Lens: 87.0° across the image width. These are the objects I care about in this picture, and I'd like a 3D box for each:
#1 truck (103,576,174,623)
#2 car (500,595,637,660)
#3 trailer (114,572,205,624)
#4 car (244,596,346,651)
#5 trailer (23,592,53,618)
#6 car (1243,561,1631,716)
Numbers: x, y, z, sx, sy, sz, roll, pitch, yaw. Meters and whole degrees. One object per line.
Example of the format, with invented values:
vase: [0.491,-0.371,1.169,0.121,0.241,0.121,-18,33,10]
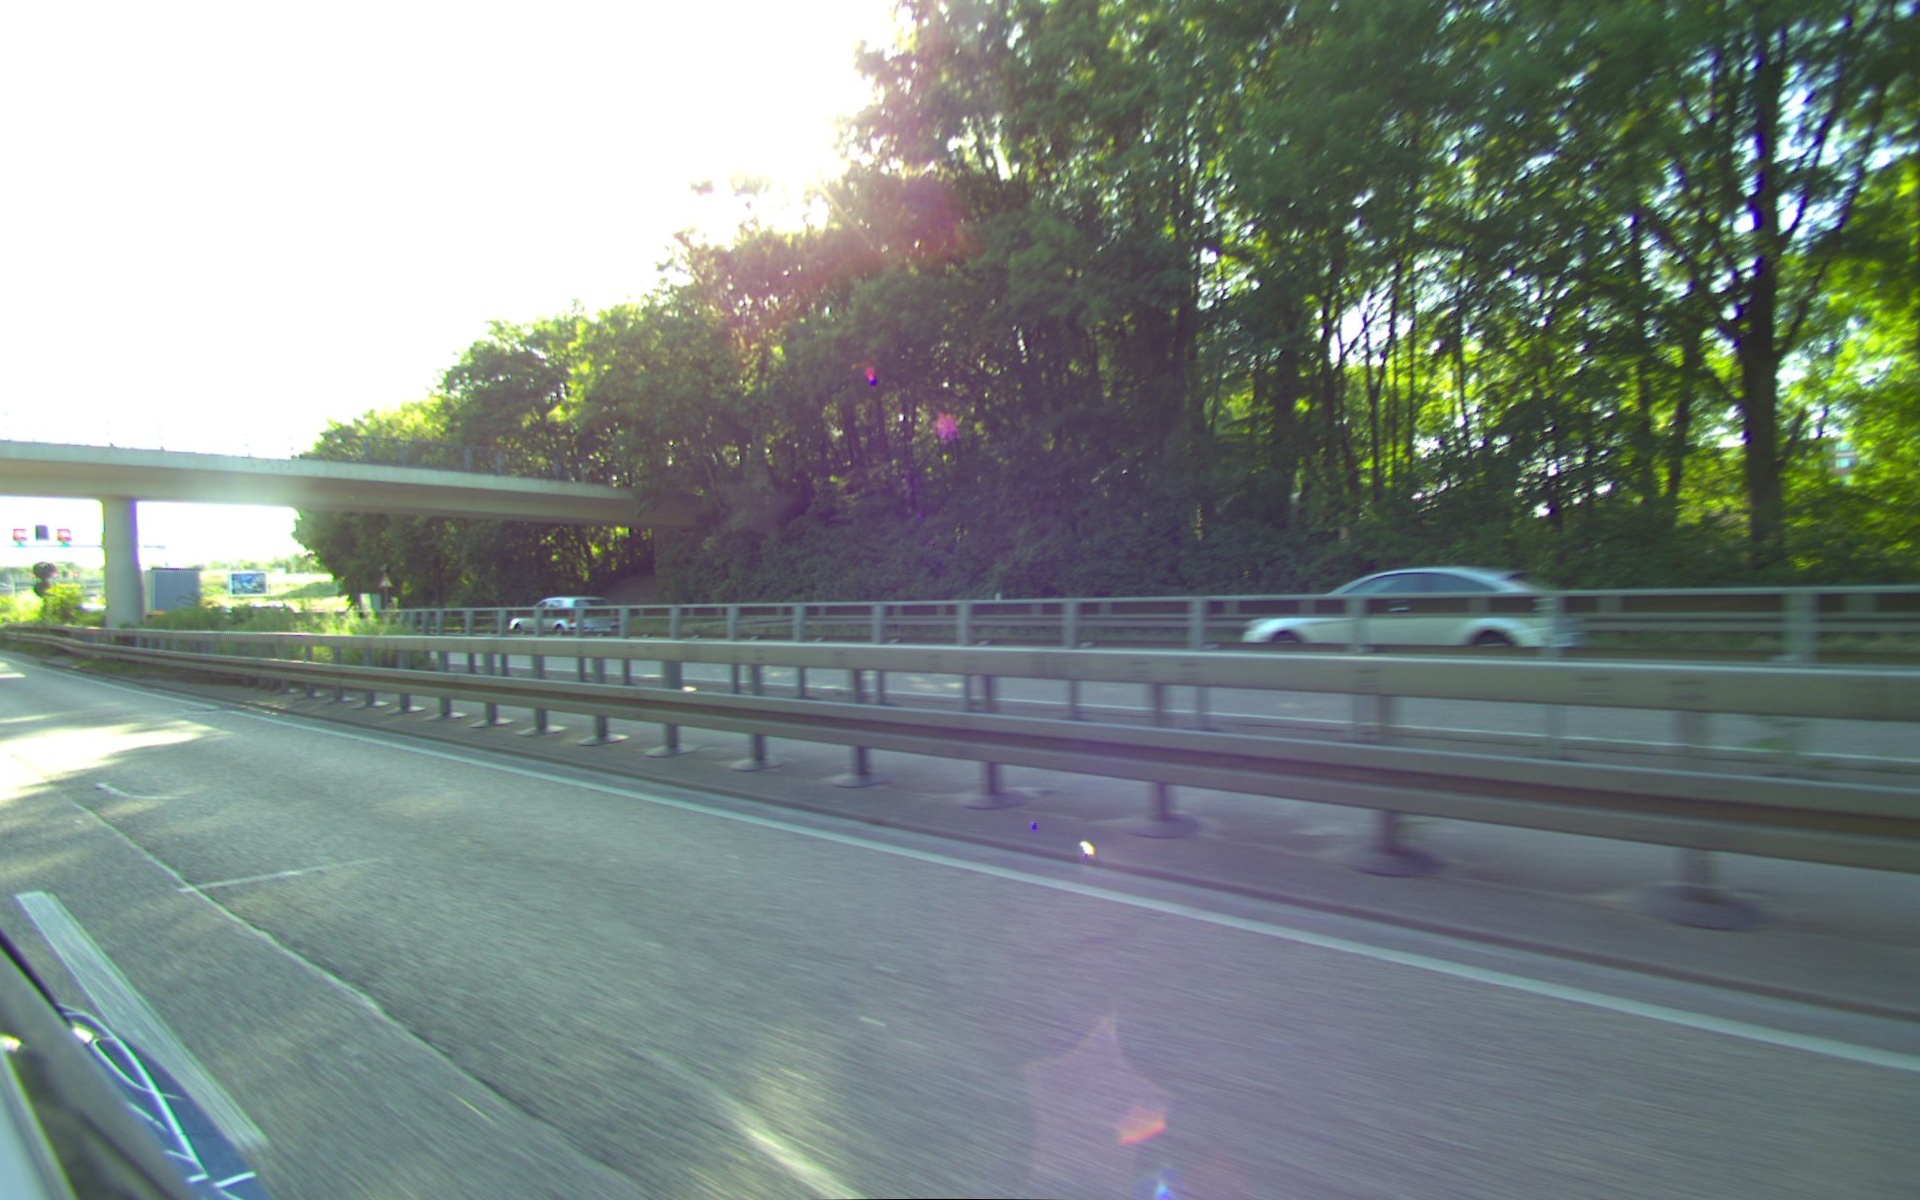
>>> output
truck: [-59.085,-0.034,72.697,7.082,3.192,2.898,-1,0,42]
car: [-11.532,0.762,29.714,4.341,1.763,1.973,-1,0,41]
trailer: [-53.868,-0.095,67.916,11.914,3.192,2.898,-1,0,42]
car: [-22.978,0.785,34.923,4.109,1.729,1.877,-1,1,41]
trailer: [-152.310,0.873,167.128,14.032,4.018,2.988,-1,0,45]
car: [6.315,0.444,13.677,4.371,1.763,1.973,-1,0,41]
